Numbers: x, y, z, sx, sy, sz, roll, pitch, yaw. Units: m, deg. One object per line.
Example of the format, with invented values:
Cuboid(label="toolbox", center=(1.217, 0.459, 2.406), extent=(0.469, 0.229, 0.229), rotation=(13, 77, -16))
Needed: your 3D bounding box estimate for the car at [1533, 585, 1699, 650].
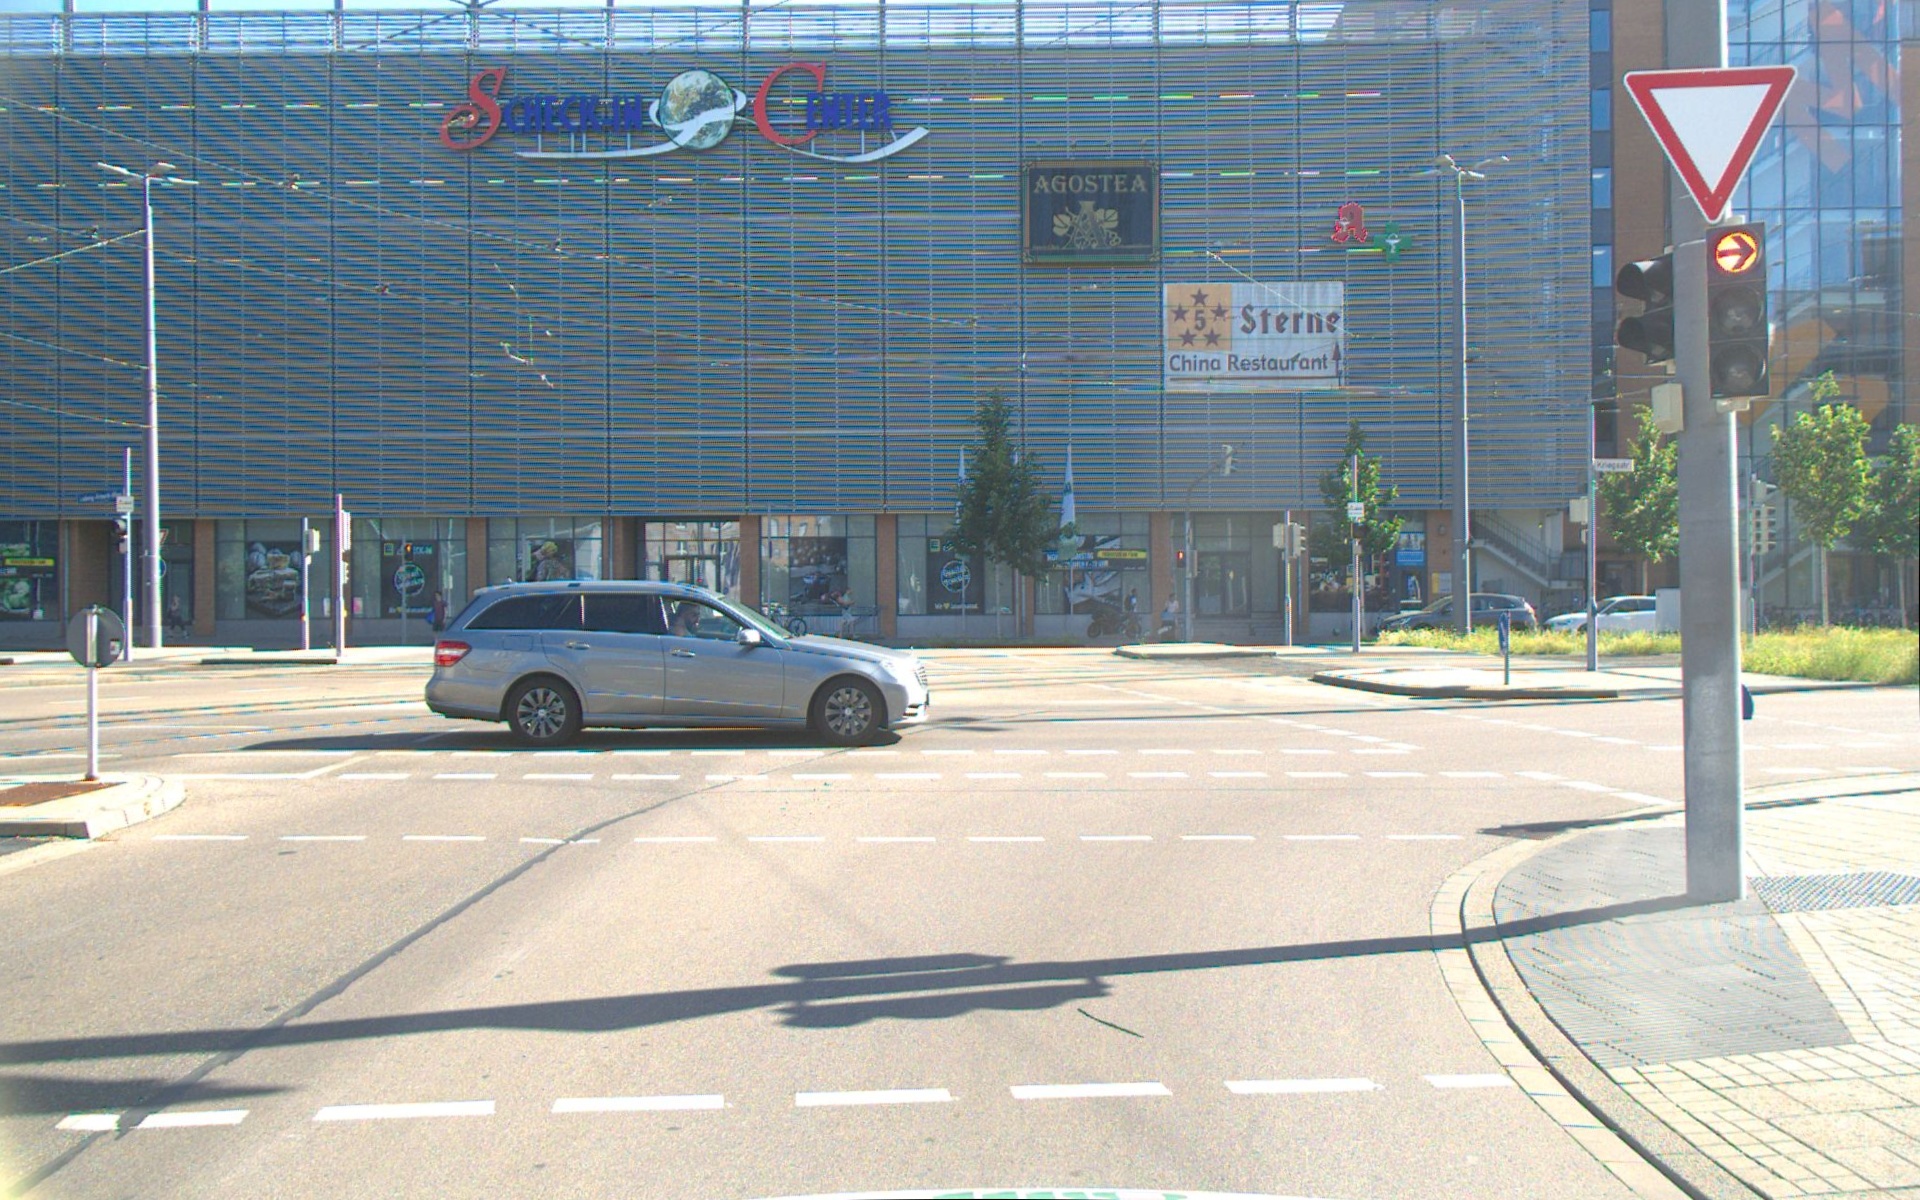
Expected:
Cuboid(label="car", center=(19.644, 0.514, 49.661), extent=(4.203, 1.673, 1.840), rotation=(3, -1, -2))

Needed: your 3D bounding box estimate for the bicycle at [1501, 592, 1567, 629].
Cuboid(label="bicycle", center=(21.287, 0.391, 61.349), extent=(2.209, 1.318, 0.605), rotation=(1, -1, -2))

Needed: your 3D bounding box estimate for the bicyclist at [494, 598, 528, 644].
Cuboid(label="bicyclist", center=(-14.800, 0.689, 54.540), extent=(0.663, 1.452, 0.844), rotation=(0, 2, 42))

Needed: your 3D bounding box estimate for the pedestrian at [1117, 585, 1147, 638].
Cuboid(label="pedestrian", center=(6.165, 0.417, 59.321), extent=(0.991, 1.860, 1.036), rotation=(-2, 0, 3))

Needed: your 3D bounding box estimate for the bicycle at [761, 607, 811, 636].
Cuboid(label="bicycle", center=(-6.367, 0.778, 60.429), extent=(1.783, 1.006, 0.556), rotation=(0, 1, -11))

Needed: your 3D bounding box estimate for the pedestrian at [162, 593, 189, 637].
Cuboid(label="pedestrian", center=(-29.207, 0.546, 61.613), extent=(0.646, 1.629, 0.594), rotation=(1, -1, 18))

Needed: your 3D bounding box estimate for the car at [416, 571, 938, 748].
Cuboid(label="car", center=(-2.647, 0.533, 16.124), extent=(4.761, 1.599, 1.705), rotation=(0, 0, -5))

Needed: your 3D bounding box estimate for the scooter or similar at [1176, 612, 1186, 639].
Cuboid(label="scooter or similar", center=(7.365, 0.833, 55.186), extent=(0.288, 0.888, 1.004), rotation=(1, 0, 10))

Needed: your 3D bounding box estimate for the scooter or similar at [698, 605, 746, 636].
Cuboid(label="scooter or similar", center=(-8.748, 0.746, 60.776), extent=(1.759, 1.085, 0.611), rotation=(0, 1, -9))

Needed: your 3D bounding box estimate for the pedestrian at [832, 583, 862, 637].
Cuboid(label="pedestrian", center=(-4.066, 0.374, 59.556), extent=(0.930, 1.860, 0.846), rotation=(-2, -4, 5))

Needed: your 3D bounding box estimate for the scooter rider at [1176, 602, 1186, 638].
Cuboid(label="scooter rider", center=(7.359, 0.667, 55.127), extent=(0.282, 1.221, 0.386), rotation=(1, -1, 10))

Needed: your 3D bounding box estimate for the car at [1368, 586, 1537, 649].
Cuboid(label="car", center=(13.669, 0.496, 46.043), extent=(4.063, 1.495, 1.840), rotation=(3, -1, -2))

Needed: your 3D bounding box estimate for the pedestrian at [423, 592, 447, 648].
Cuboid(label="pedestrian", center=(-17.340, 0.661, 54.664), extent=(0.683, 1.829, 0.727), rotation=(-2, 0, -17))

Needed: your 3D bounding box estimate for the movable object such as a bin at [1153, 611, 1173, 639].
Cuboid(label="movable object such as a bin", center=(6.740, 0.831, 54.893), extent=(0.599, 0.920, 0.970), rotation=(1, 0, 10))

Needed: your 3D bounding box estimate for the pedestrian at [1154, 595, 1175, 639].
Cuboid(label="pedestrian", center=(6.856, 0.577, 55.360), extent=(0.641, 1.438, 0.850), rotation=(1, 0, 10))

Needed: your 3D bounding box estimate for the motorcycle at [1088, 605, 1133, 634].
Cuboid(label="motorcycle", center=(5.528, 0.727, 60.704), extent=(1.605, 1.022, 0.447), rotation=(1, 0, 6))
